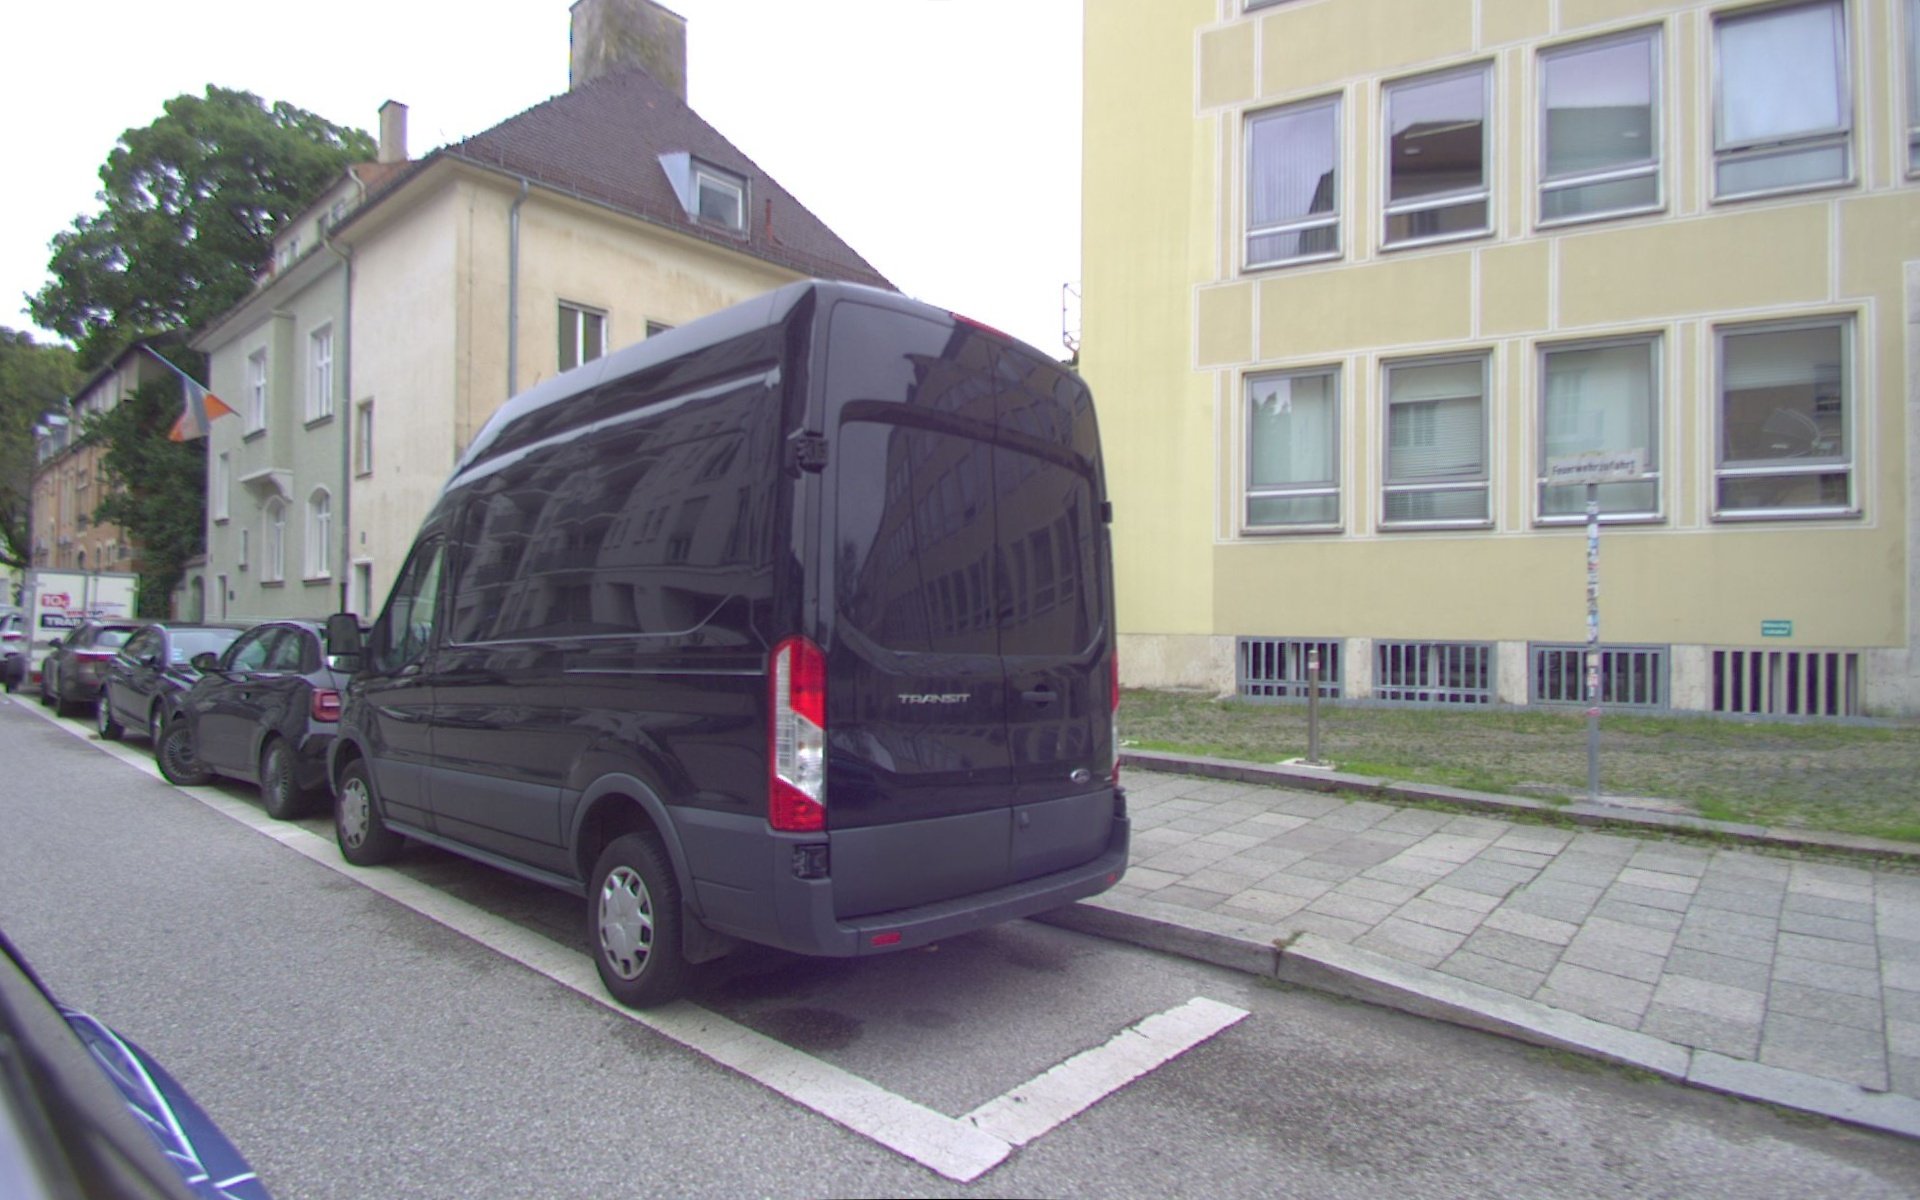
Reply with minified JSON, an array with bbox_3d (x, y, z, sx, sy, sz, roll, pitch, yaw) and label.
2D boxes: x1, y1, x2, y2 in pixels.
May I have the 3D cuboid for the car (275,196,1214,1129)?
[{"bbox_3d":[-1.684,0.232,5.664,5.653,2.666,2.272,-1,-3,43],"label":"car"}]

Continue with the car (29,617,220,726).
[{"bbox_3d":[-13.605,1.045,16.377,4.643,1.511,1.793,-1,-2,43],"label":"car"}]

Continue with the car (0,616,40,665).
[{"bbox_3d":[-30.025,1.230,31.347,3.926,1.463,1.794,-1,-1,41],"label":"car"}]

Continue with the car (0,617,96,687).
[{"bbox_3d":[-21.828,1.167,23.819,3.841,1.525,1.744,-1,-2,42],"label":"car"}]

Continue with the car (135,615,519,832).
[{"bbox_3d":[-5.569,0.887,8.799,3.484,1.505,1.686,-1,-1,37],"label":"car"}]

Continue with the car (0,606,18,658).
[{"bbox_3d":[-34.290,1.098,35.293,3.649,1.747,1.794,-1,-1,42],"label":"car"}]

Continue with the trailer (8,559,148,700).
[{"bbox_3d":[-17.701,0.609,20.265,1.792,2.555,3.391,6,-5,-43],"label":"trailer"}]

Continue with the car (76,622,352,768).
[{"bbox_3d":[-8.998,0.996,12.098,4.066,1.436,1.676,-1,-2,39],"label":"car"}]

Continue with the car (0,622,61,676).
[{"bbox_3d":[-25.696,1.278,27.327,3.746,1.357,1.793,-1,-1,43],"label":"car"}]
